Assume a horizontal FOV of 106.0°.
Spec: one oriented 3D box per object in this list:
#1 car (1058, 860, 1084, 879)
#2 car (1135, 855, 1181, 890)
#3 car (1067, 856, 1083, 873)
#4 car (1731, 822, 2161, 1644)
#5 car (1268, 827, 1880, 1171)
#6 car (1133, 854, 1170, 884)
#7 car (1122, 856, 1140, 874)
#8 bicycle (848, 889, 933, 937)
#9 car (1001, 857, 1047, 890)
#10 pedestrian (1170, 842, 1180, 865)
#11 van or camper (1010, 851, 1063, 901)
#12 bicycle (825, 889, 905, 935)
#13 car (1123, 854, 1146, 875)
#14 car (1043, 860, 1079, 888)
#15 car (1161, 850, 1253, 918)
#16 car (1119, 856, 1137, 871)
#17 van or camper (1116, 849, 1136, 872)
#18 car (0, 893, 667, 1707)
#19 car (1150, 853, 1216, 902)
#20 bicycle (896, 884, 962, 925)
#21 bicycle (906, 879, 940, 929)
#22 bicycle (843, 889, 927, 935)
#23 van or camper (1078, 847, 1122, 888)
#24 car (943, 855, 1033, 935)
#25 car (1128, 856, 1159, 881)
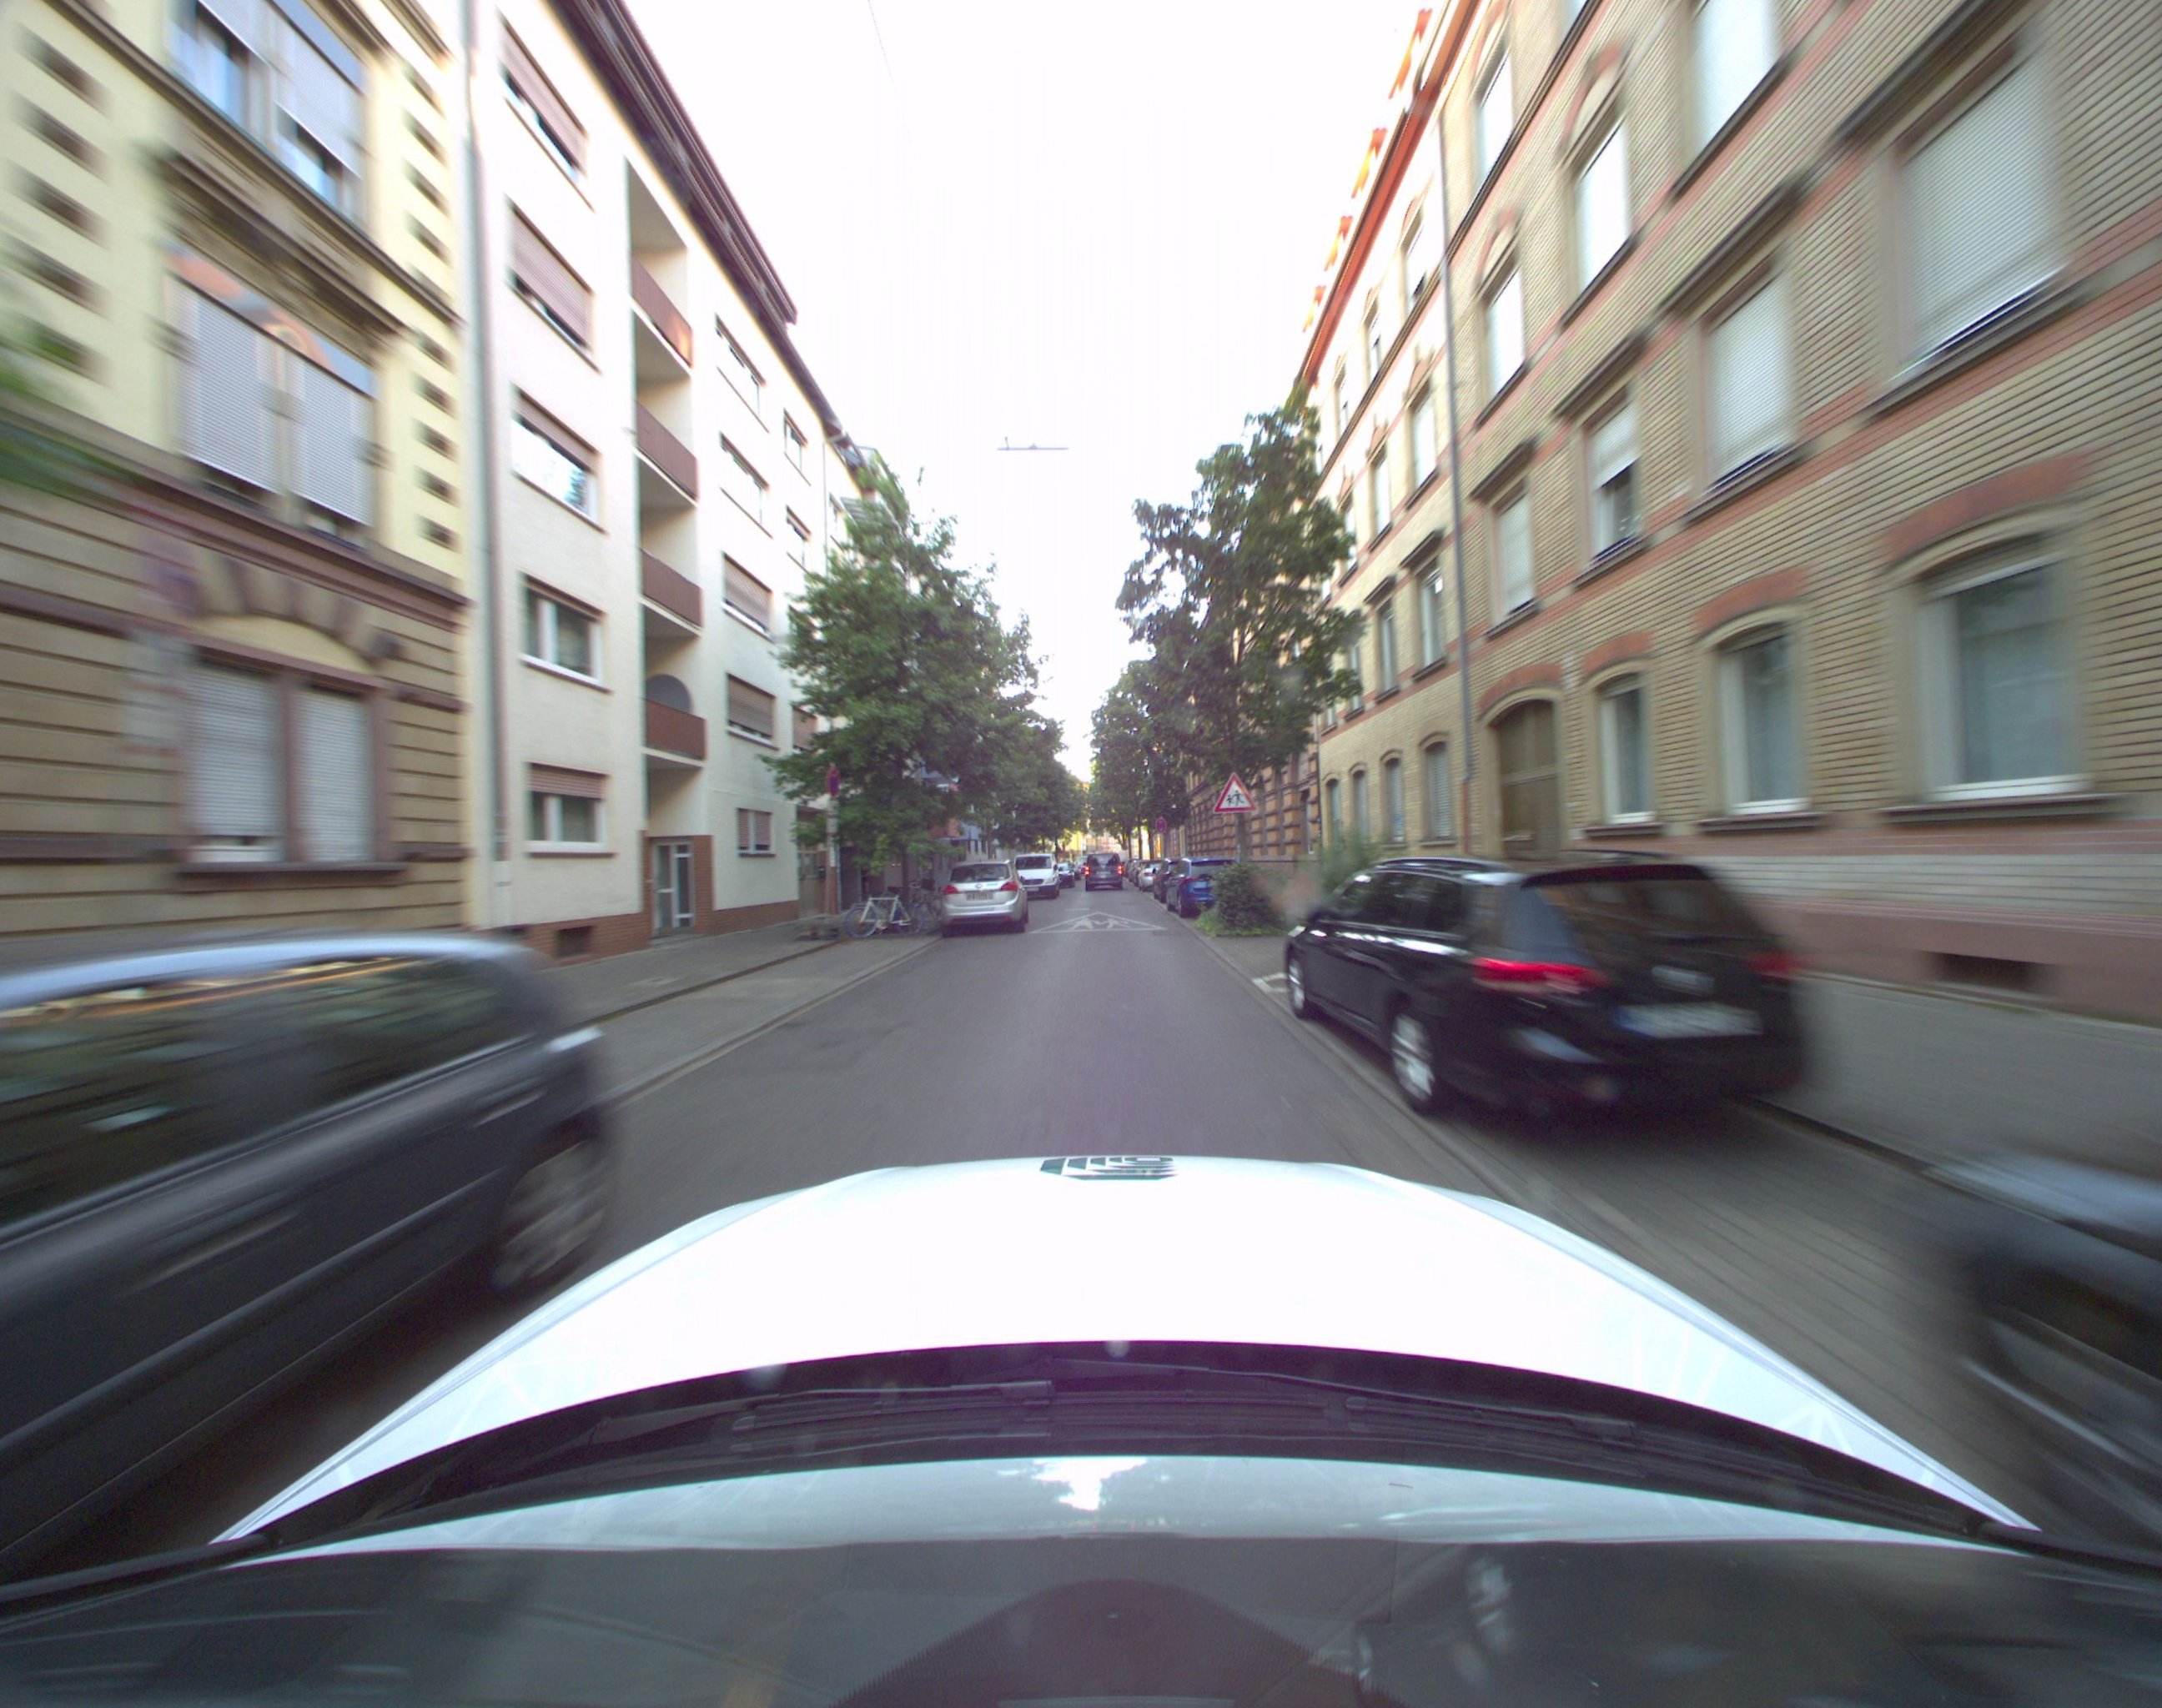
[{"bbox_3d":[-0.803,1.235,66.573,1.839,1.451,4.504,-2,0,2],"label":"car"},{"bbox_3d":[3.488,0.821,37.730,1.688,1.401,4.647,-4,0,1],"label":"car"},{"bbox_3d":[-0.605,1.060,84.401,1.625,1.430,3.543,-3,3,0],"label":"car"},{"bbox_3d":[2.690,0.641,0.529,1.630,1.424,3.564,-4,0,0],"label":"car"},{"bbox_3d":[2.731,0.663,5.914,1.760,1.415,4.475,-5,0,2],"label":"car"},{"bbox_3d":[3.854,0.813,45.066,1.716,1.450,4.215,-4,-1,1],"label":"car"},{"bbox_3d":[4.533,0.958,73.277,1.544,1.496,3.614,-2,0,4],"label":"car"},{"bbox_3d":[-4.065,1.244,17.397,1.709,0.907,0.380,-2,-1,-29],"label":"bicycle"},{"bbox_3d":[-2.992,0.995,43.697,1.986,1.646,4.923,-1,0,1],"label":"car"},{"bbox_3d":[6.896,-0.011,59.781,0.624,1.648,0.532,-2,-1,2],"label":"pedestrian"},{"bbox_3d":[-1.787,0.874,34.168,1.871,1.843,4.752,-3,0,0],"label":"van or camper"},{"bbox_3d":[-4.804,1.275,18.180,1.669,0.898,0.380,-2,-1,-29],"label":"bicycle"},{"bbox_3d":[4.469,0.879,68.977,1.607,1.559,3.765,-4,0,0],"label":"car"},{"bbox_3d":[-1.137,1.155,48.301,1.824,1.517,4.516,-3,-1,1],"label":"car"},{"bbox_3d":[3.122,0.705,20.955,1.623,1.466,4.244,-3,0,0],"label":"car"},{"bbox_3d":[4.944,0.959,86.004,1.743,1.471,3.777,-3,0,2],"label":"car"},{"bbox_3d":[5.287,0.789,96.986,1.987,2.599,5.423,-3,0,0],"label":"van or camper"},{"bbox_3d":[-2.749,0.923,1.841,1.574,1.420,3.754,-3,0,1],"label":"car"},{"bbox_3d":[3.386,0.746,27.717,1.706,1.478,4.193,-3,0,1],"label":"car"},{"bbox_3d":[-3.913,1.298,20.931,1.708,0.994,0.580,-3,0,35],"label":"bicycle"},{"bbox_3d":[-3.730,1.161,19.338,0.418,1.103,1.665,-2,-1,1],"label":"bicycle"},{"bbox_3d":[-4.273,1.255,17.802,1.709,0.898,0.380,-2,-1,-29],"label":"bicycle"},{"bbox_3d":[1.014,0.663,41.761,2.027,1.897,4.274,-2,0,3],"label":"van or camper"},{"bbox_3d":[-2.047,0.866,18.904,1.659,1.563,3.997,-3,0,-2],"label":"car"},{"bbox_3d":[4.183,0.964,54.972,1.692,1.482,3.998,-5,0,-1],"label":"car"}]
